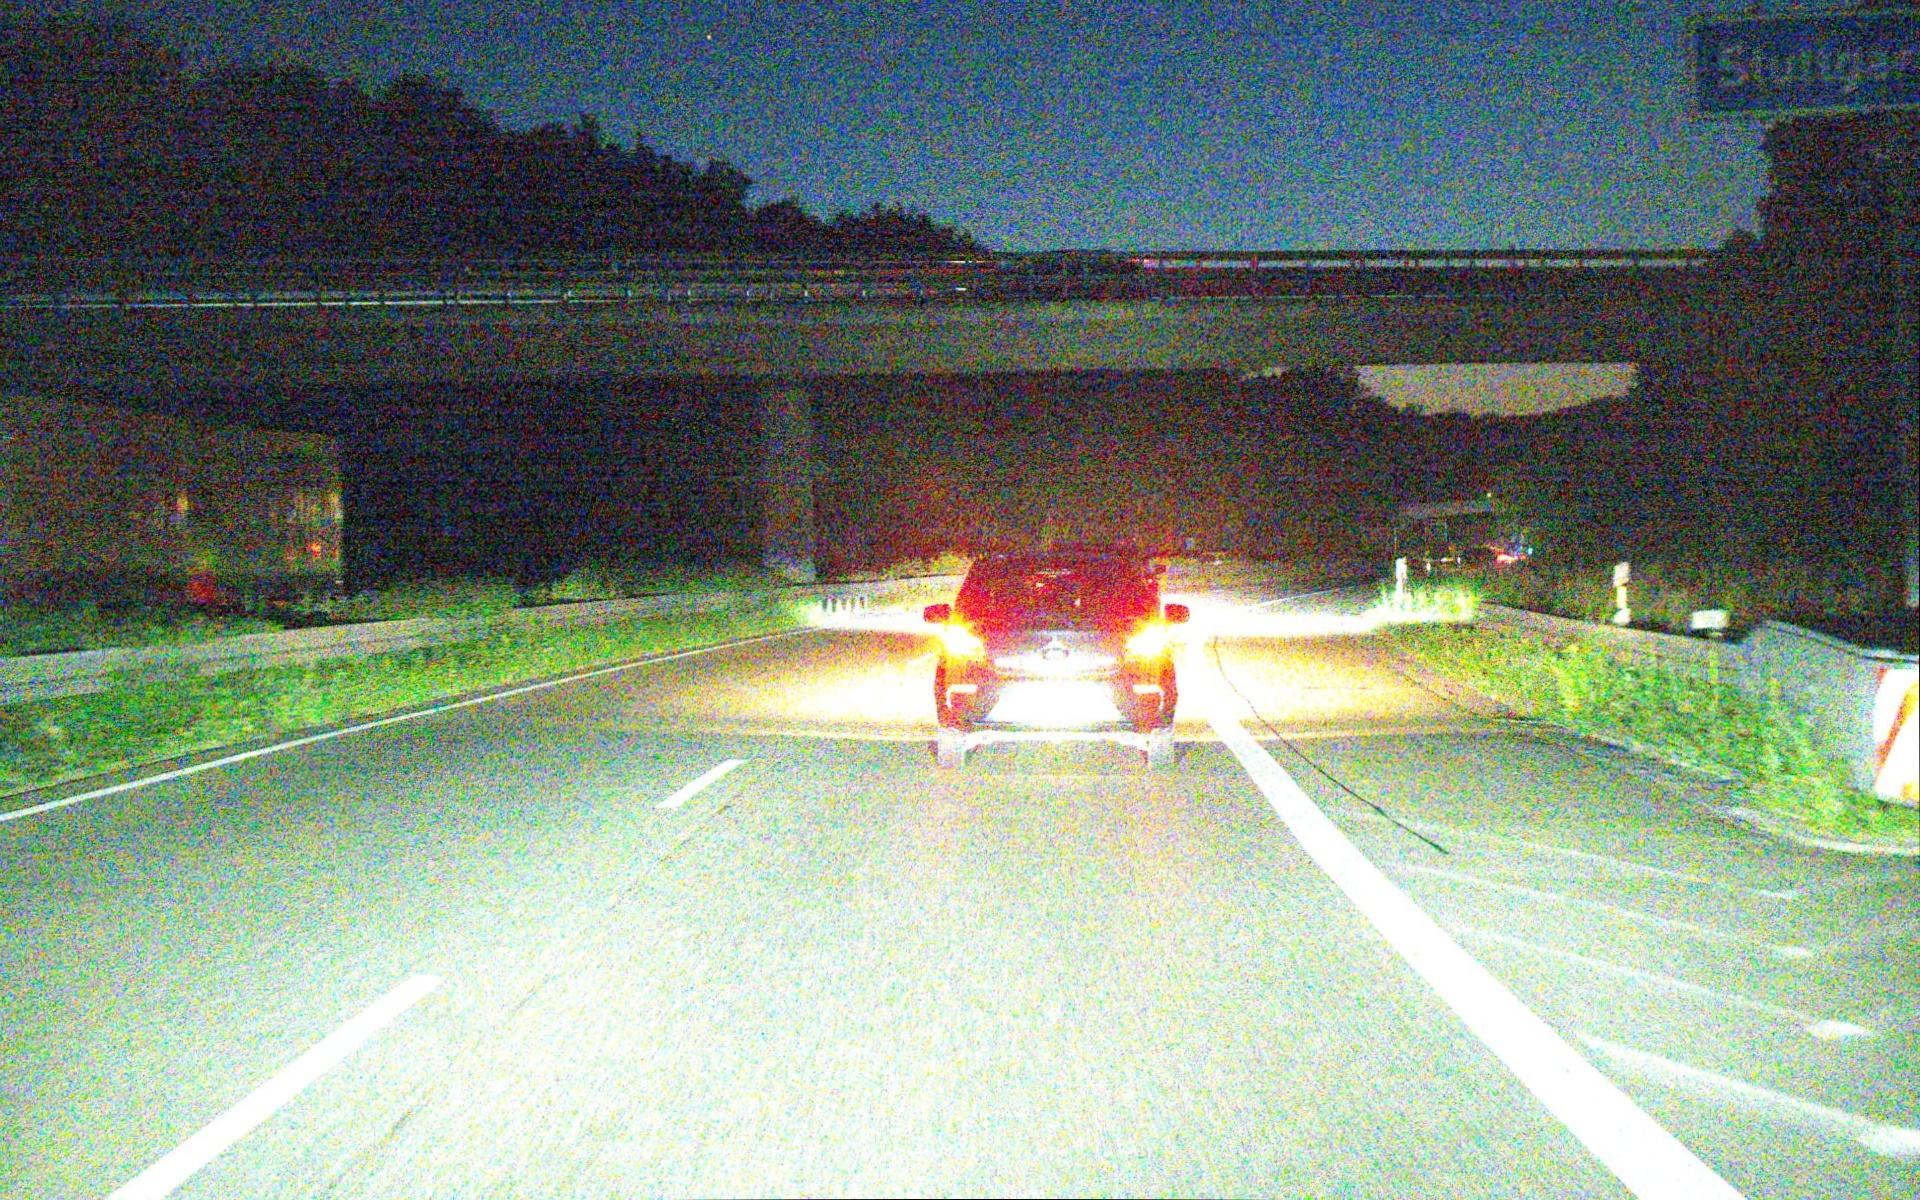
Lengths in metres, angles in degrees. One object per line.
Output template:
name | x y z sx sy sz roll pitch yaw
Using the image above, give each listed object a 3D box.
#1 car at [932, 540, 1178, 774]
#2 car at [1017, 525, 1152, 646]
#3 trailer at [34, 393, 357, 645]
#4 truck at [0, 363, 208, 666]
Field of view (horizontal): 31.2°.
car | 0.619 0.335 24.366 1.588 1.503 4.000 1 1 0
car | 1.880 -0.247 51.211 1.906 1.692 4.000 -1 1 3
trailer | -12.962 -1.382 59.207 2.718 3.943 9.046 -1 1 5
truck | -13.808 -1.194 49.451 2.681 4.030 10.652 -1 1 5
